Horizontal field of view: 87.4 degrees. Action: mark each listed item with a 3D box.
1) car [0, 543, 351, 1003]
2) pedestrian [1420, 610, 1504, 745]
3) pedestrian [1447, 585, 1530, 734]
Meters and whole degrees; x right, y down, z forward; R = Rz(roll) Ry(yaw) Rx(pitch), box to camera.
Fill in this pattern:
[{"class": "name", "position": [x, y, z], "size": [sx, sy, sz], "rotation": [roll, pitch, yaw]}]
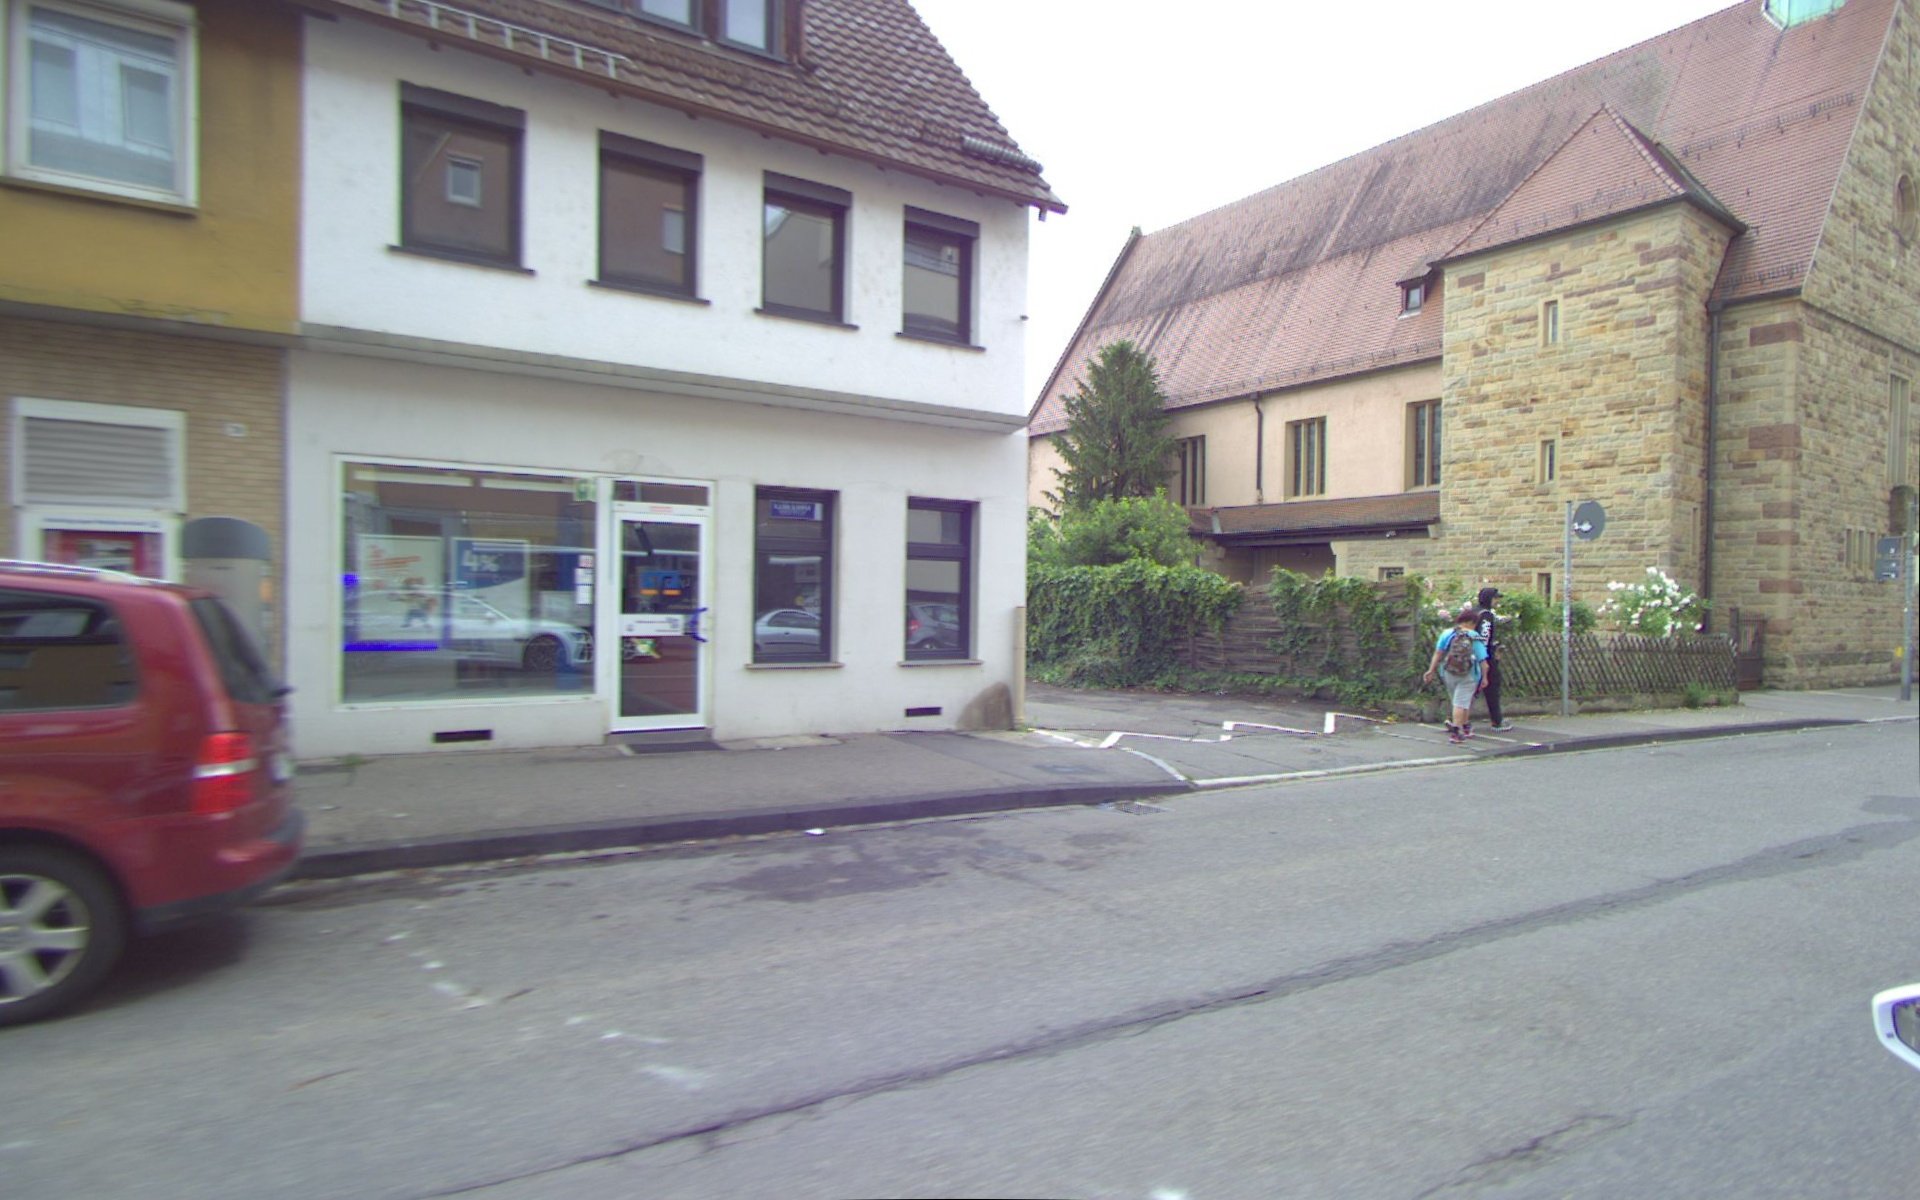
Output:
[{"class": "car", "position": [-4.792, 0.596, 3.601], "size": [4.400, 1.594, 1.694], "rotation": [1, -2, -31]}, {"class": "pedestrian", "position": [6.140, 0.927, 12.286], "size": [0.688, 1.575, 0.568], "rotation": [2, 2, -30]}, {"class": "pedestrian", "position": [6.960, 0.767, 13.241], "size": [0.688, 1.873, 0.568], "rotation": [1, 3, -30]}]
